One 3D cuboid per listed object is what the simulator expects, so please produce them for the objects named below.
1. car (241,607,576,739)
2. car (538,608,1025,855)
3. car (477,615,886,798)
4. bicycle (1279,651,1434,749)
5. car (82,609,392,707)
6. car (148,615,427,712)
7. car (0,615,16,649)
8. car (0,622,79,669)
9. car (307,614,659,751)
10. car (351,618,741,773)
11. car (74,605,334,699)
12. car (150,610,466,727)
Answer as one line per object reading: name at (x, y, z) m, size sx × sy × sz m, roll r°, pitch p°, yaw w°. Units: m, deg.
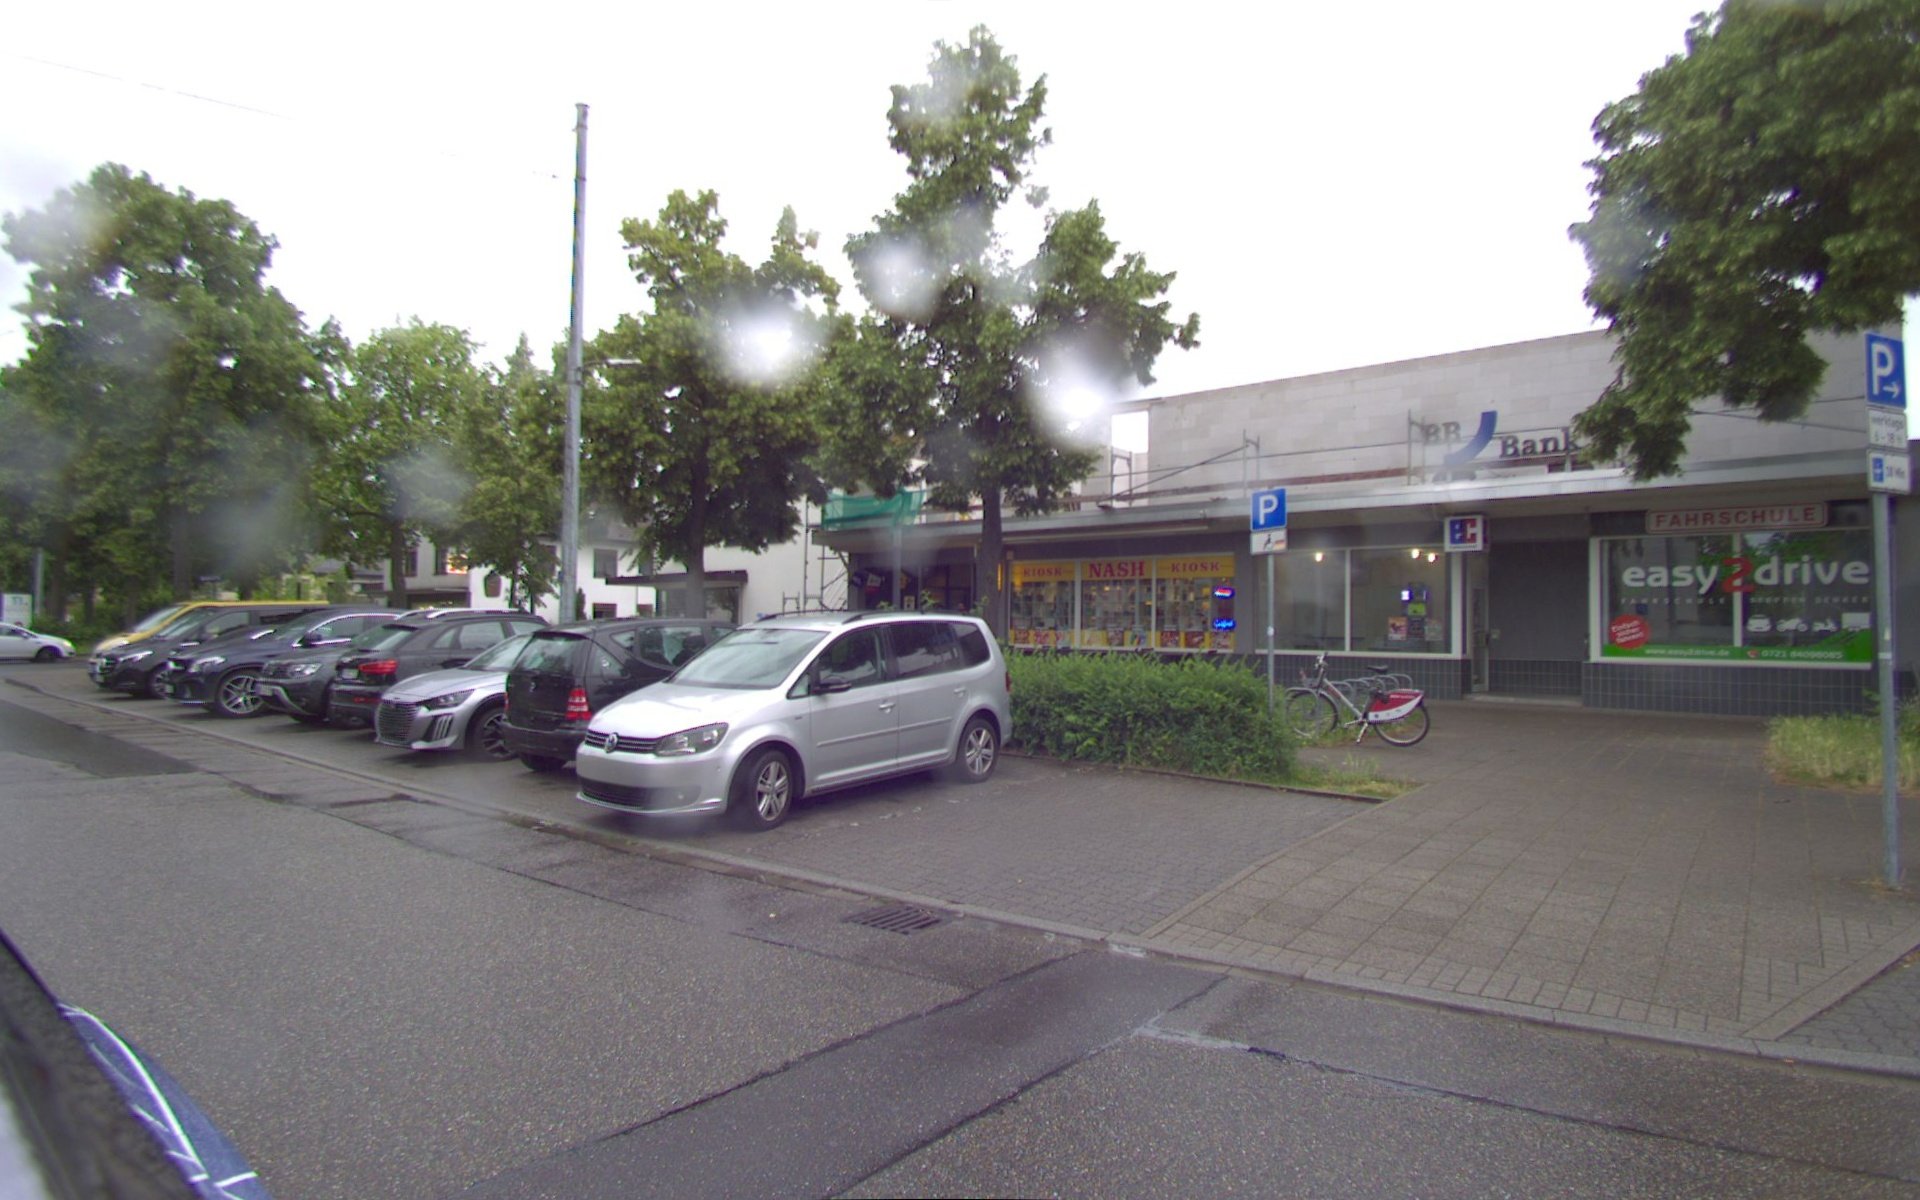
car at (-8.337, 0.983, 15.649) m, size 1.713 × 1.740 × 4.231 m, roll -1°, pitch -1°, yaw 38°
car at (-1.317, 0.903, 9.005) m, size 1.713 × 1.647 × 4.231 m, roll -1°, pitch -1°, yaw 38°
car at (-2.835, 0.974, 11.150) m, size 1.633 × 1.577 × 4.231 m, roll -1°, pitch 0°, yaw 38°
bicycle at (4.818, 1.195, 12.353) m, size 1.739 × 1.115 × 0.316 m, roll -1°, pitch 0°, yaw 25°
car at (-15.139, 1.114, 21.511) m, size 1.713 × 1.813 × 5.114 m, roll -1°, pitch -1°, yaw 38°
car at (-12.973, 1.137, 19.754) m, size 1.713 × 1.639 × 4.231 m, roll -1°, pitch -1°, yaw 38°
car at (-49.760, 1.645, 50.268) m, size 1.997 × 1.698 × 3.950 m, roll -1°, pitch 0°, yaw 37°
car at (-32.142, 1.530, 33.453) m, size 1.994 × 1.465 × 4.210 m, roll -1°, pitch 0°, yaw 33°
car at (-6.568, 1.026, 14.353) m, size 1.713 × 1.607 × 4.231 m, roll -1°, pitch -1°, yaw 38°
car at (-4.941, 1.018, 12.617) m, size 1.713 × 1.544 × 4.231 m, roll -1°, pitch -1°, yaw 38°
car at (-17.441, 1.109, 23.572) m, size 1.713 × 1.973 × 4.600 m, roll -1°, pitch -1°, yaw 38°
car at (-10.967, 1.043, 17.299) m, size 1.713 × 1.740 × 4.231 m, roll -1°, pitch -1°, yaw 38°
